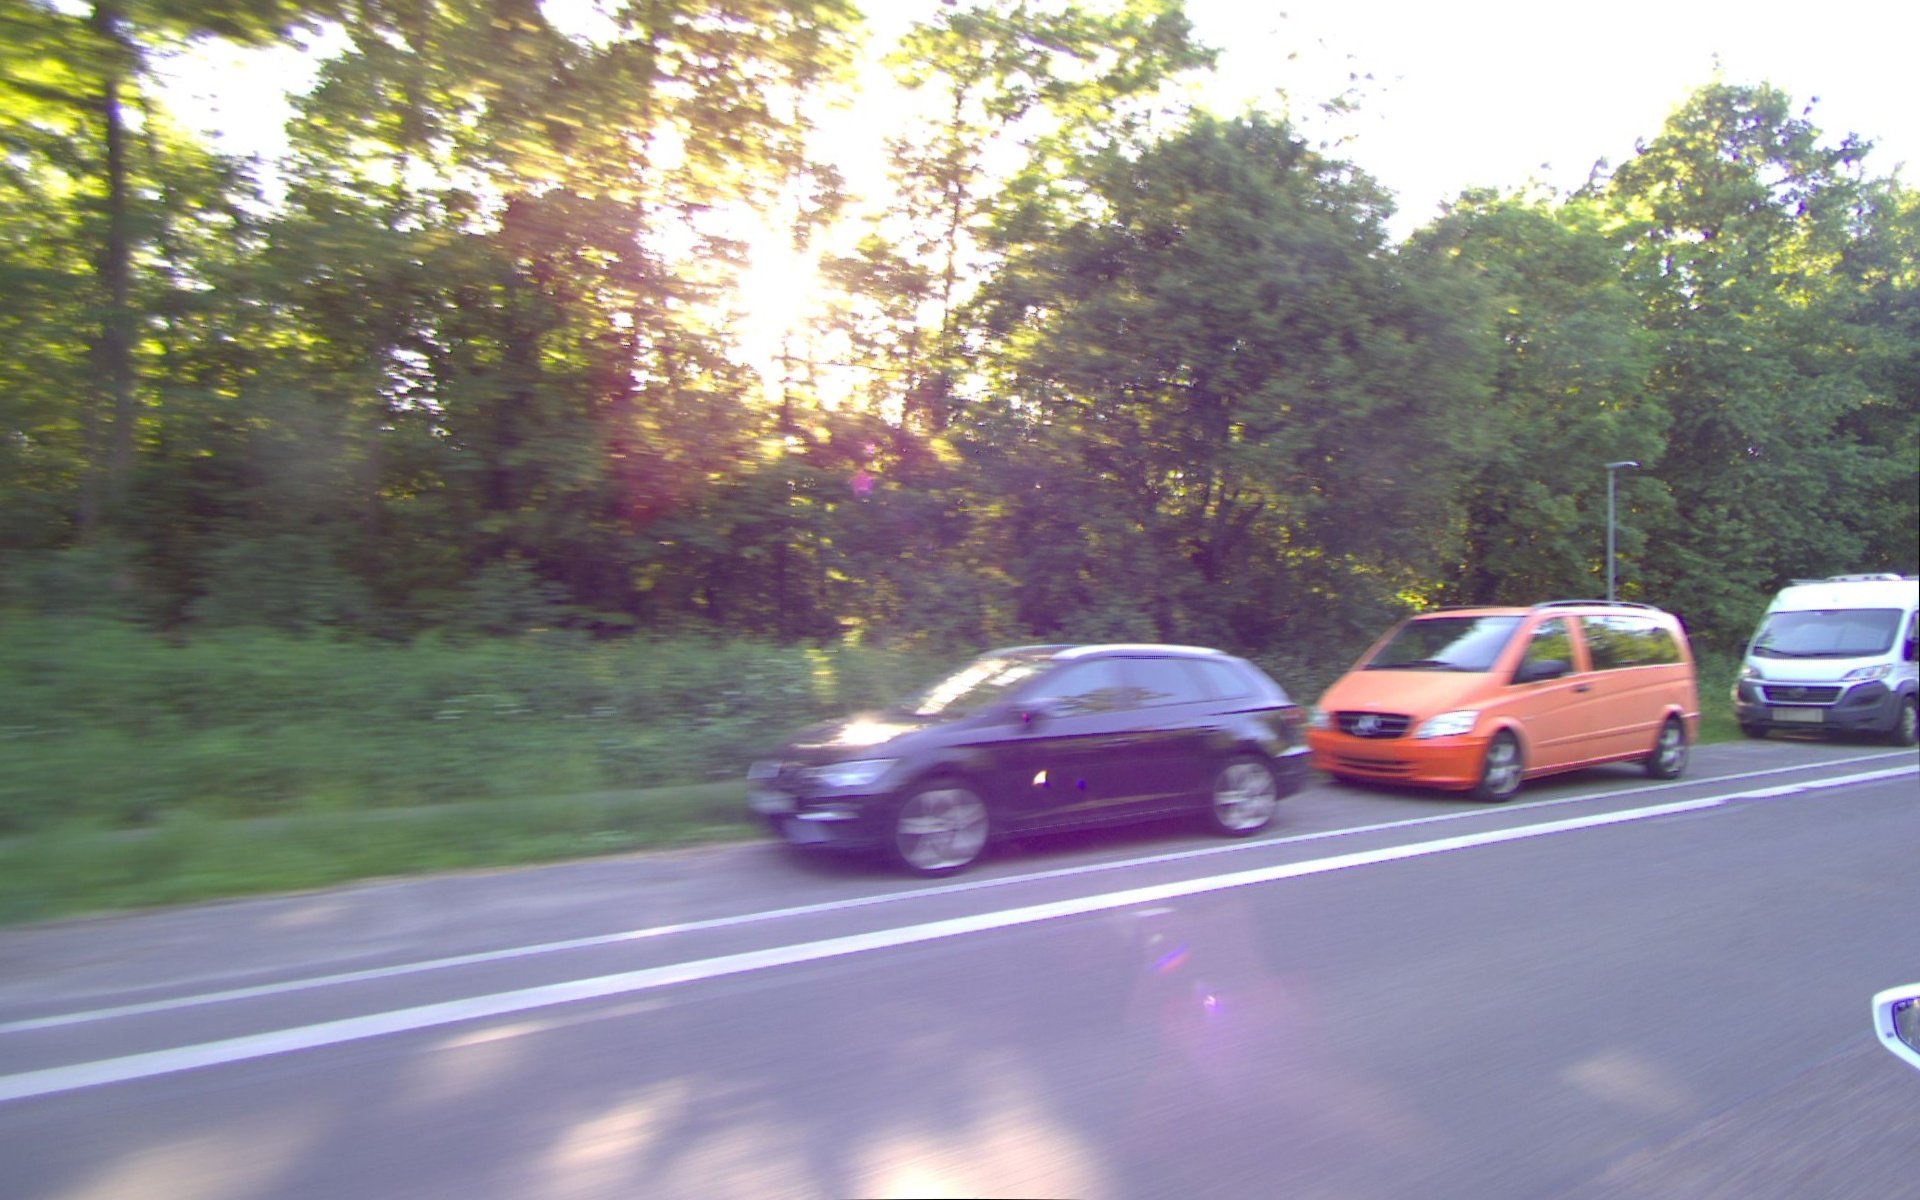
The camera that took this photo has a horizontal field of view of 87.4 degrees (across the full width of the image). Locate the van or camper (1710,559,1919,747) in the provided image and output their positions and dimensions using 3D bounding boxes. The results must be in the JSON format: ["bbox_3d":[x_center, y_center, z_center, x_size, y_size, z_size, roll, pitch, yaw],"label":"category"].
[{"bbox_3d":[15.099,0.815,16.495,6.465,2.606,2.111,1,-2,-30],"label":"van or camper"}]

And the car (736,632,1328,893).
[{"bbox_3d":[0.638,1.011,7.632,4.273,1.497,1.724,1,-3,-30],"label":"car"}]

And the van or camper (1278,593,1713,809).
[{"bbox_3d":[5.874,0.972,10.879,4.806,1.891,1.914,1,-3,-30],"label":"van or camper"}]
